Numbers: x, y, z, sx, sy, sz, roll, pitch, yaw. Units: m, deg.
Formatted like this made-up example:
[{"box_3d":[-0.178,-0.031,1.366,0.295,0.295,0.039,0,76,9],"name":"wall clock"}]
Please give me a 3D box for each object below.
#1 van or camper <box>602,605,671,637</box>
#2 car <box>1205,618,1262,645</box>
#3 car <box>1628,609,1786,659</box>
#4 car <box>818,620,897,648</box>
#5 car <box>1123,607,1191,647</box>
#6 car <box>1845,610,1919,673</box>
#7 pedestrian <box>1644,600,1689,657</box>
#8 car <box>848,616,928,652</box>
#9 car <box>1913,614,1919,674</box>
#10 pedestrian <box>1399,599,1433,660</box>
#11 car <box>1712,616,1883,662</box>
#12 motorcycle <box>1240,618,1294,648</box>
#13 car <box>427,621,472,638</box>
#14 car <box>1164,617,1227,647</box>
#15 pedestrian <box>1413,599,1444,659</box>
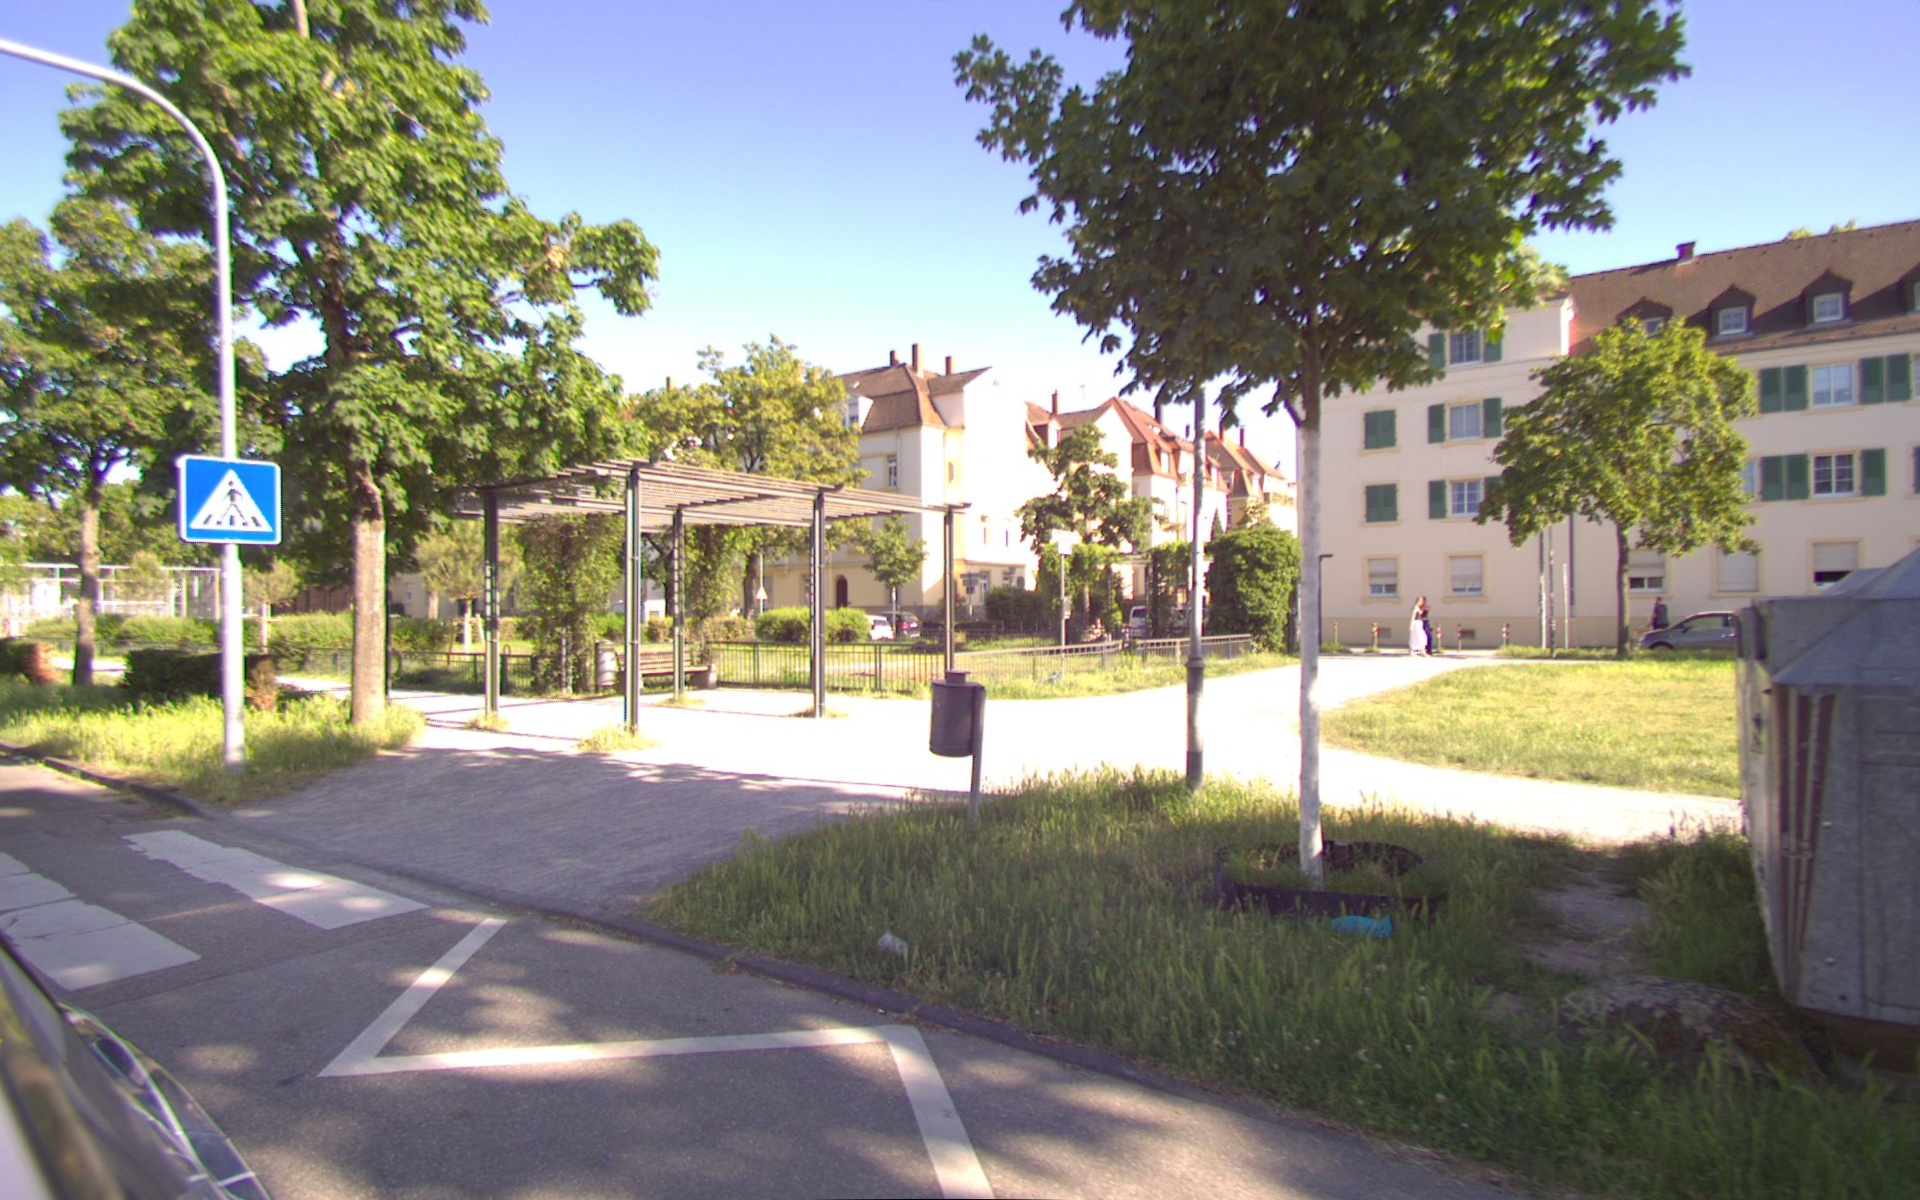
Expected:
[{"box_3d":[-21.374,1.352,66.914,4.366,2.029,2.247,0,-1,37],"name":"van or camper"},{"box_3d":[16.407,1.861,60.639,2.040,1.530,3.767,-1,-1,38],"name":"car"},{"box_3d":[21.161,0.935,28.833,3.507,1.343,1.636,-1,-1,35],"name":"car"},{"box_3d":[-5.184,1.677,50.993,3.704,1.341,1.732,-1,-1,35],"name":"car"},{"box_3d":[10.290,1.383,52.692,2.040,1.970,3.767,-1,-1,38],"name":"car"},{"box_3d":[25.550,1.048,25.840,4.226,1.595,1.773,-1,-1,35],"name":"car"},{"box_3d":[25.019,0.998,35.845,1.159,1.978,1.330,-1,-1,30],"name":"pedestrian"},{"box_3d":[-3.861,1.787,53.978,3.994,1.807,1.932,-1,-1,38],"name":"car"},{"box_3d":[30.646,1.287,28.945,4.633,1.777,1.977,-1,-1,34],"name":"car"},{"box_3d":[12.892,0.827,28.606,0.749,1.698,0.538,-1,-1,38],"name":"pedestrian"},{"box_3d":[26.366,1.200,32.053,3.991,1.366,1.753,-1,-1,36],"name":"car"},{"box_3d":[13.664,1.470,45.015,2.140,1.315,0.809,-1,-1,35],"name":"motorcycle"},{"box_3d":[-40.800,2.365,80.885,3.994,1.303,1.670,-1,-1,38],"name":"car"},{"box_3d":[13.111,1.763,56.301,2.040,1.530,3.767,-1,-1,38],"name":"car"},{"box_3d":[13.482,0.841,29.125,0.673,1.698,0.538,-1,-1,41],"name":"pedestrian"}]
